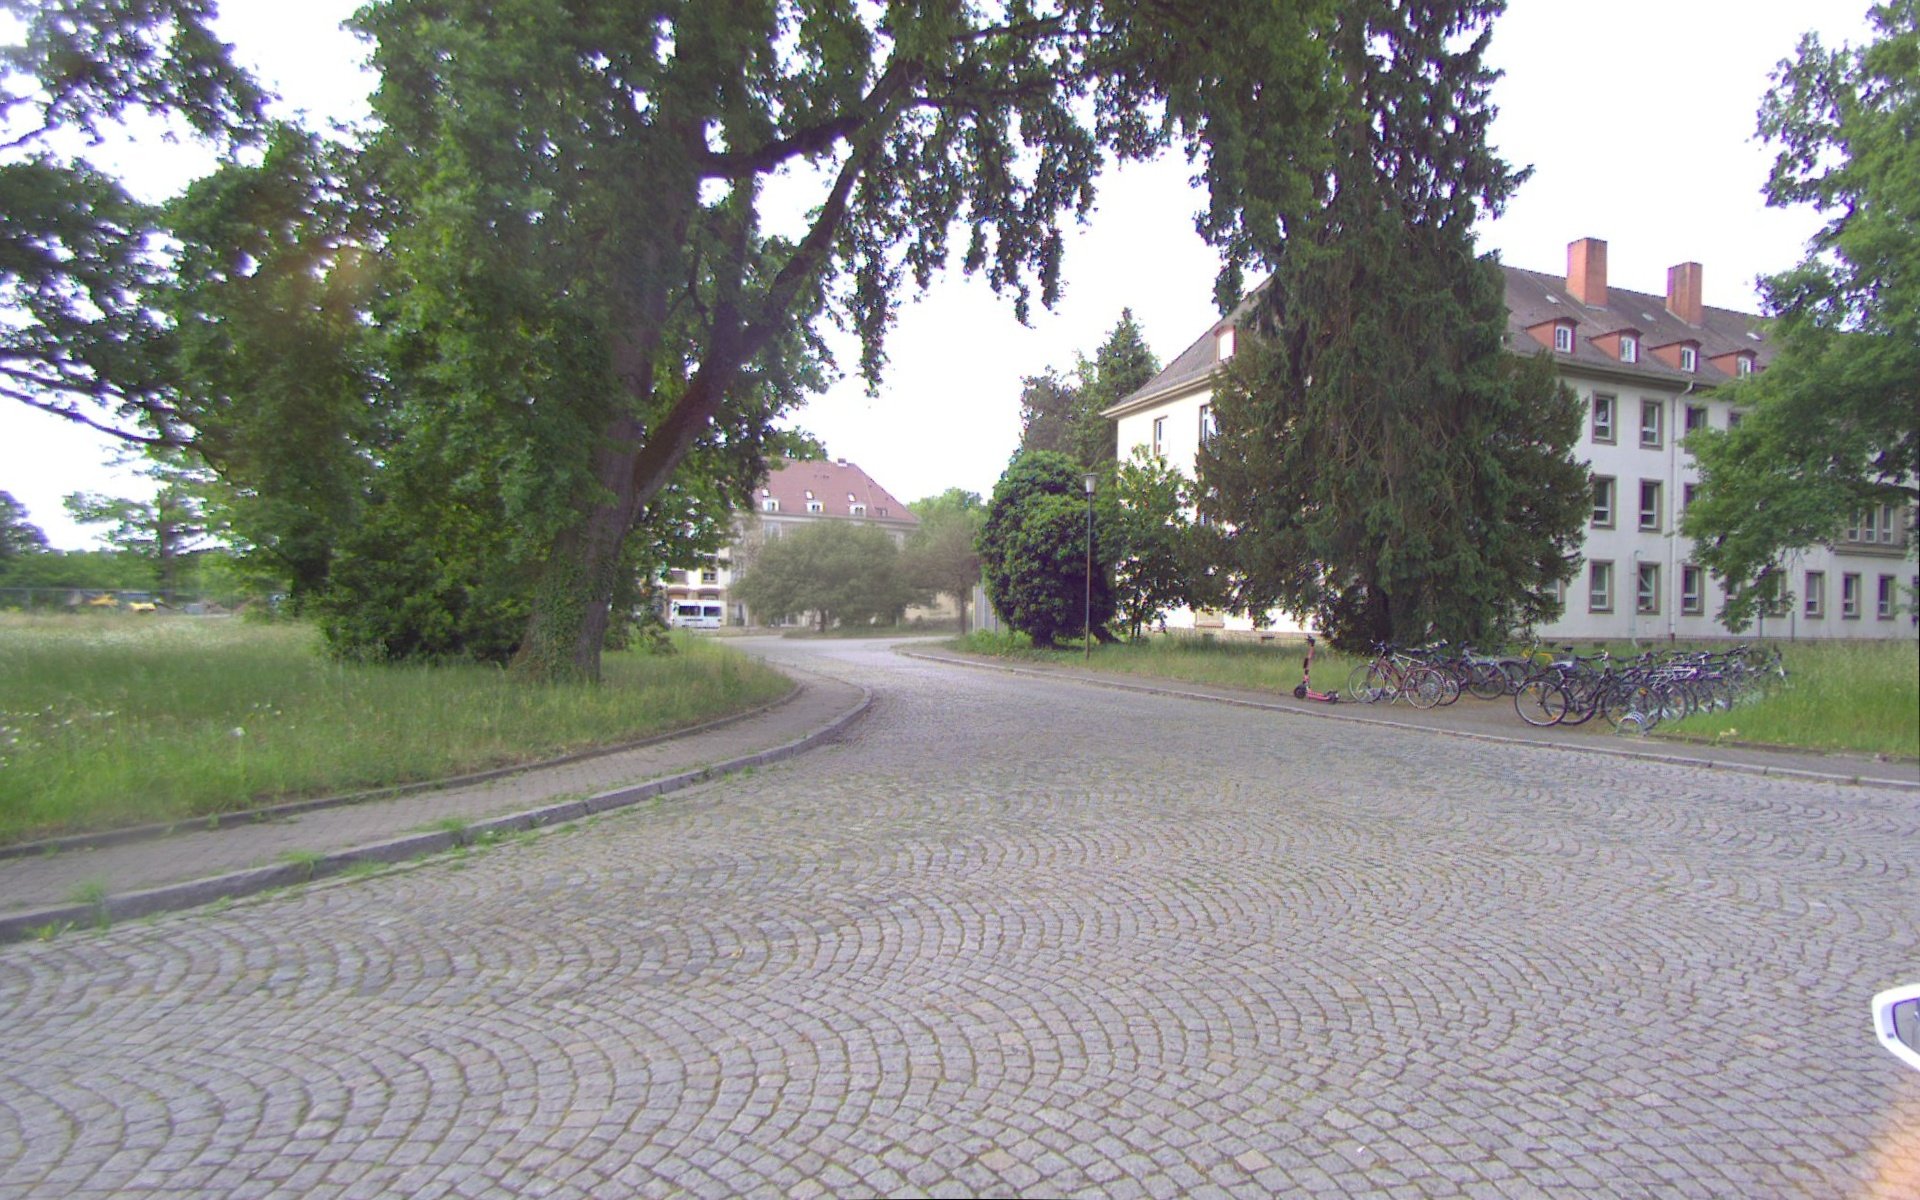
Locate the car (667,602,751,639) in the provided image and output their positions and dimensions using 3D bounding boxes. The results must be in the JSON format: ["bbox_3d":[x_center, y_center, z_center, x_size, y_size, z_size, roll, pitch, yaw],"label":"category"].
[{"bbox_3d":[-16.634,1.367,66.659,5.200,2.375,1.901,1,-1,-21],"label":"car"}]

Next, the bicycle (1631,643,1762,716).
[{"bbox_3d":[12.522,1.332,17.124,0.474,1.126,1.743,2,-1,-43],"label":"bicycle"}]

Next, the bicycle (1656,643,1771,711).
[{"bbox_3d":[13.755,1.385,18.377,0.437,1.126,1.638,1,-1,-31],"label":"bicycle"}]

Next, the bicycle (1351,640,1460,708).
[{"bbox_3d":[8.198,1.335,18.563,0.547,1.129,1.784,2,-1,-39],"label":"bicycle"}]

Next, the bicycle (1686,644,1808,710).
[{"bbox_3d":[14.738,1.410,18.853,0.473,1.126,1.746,2,-1,-37],"label":"bicycle"}]

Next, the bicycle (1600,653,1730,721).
[{"bbox_3d":[11.373,1.379,16.248,0.473,1.021,1.650,2,-3,-37],"label":"bicycle"}]

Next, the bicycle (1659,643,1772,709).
[{"bbox_3d":[14.109,1.399,18.806,0.437,1.126,1.638,1,-1,-31],"label":"bicycle"}]

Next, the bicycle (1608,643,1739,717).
[{"bbox_3d":[12.018,1.316,16.966,0.473,1.126,1.746,2,-1,-37],"label":"bicycle"}]

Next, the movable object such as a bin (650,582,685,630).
[{"bbox_3d":[-24.628,0.524,84.491,1.973,3.821,5.284,1,-1,-25],"label":"movable object such as a bin"}]

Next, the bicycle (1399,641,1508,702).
[{"bbox_3d":[9.571,1.369,19.537,1.800,1.079,0.614,0,-1,43],"label":"bicycle"}]

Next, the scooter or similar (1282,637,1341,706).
[{"bbox_3d":[6.650,1.340,19.042,0.353,1.226,1.130,1,-1,-25],"label":"scooter or similar"}]

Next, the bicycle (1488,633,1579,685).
[{"bbox_3d":[12.616,1.289,22.145,0.546,1.055,1.666,2,-1,-35],"label":"bicycle"}]

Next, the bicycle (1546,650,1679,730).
[{"bbox_3d":[9.565,1.298,14.752,1.597,1.088,0.476,-1,-2,38],"label":"bicycle"}]

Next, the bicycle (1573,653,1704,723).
[{"bbox_3d":[10.697,1.356,15.885,0.473,1.021,1.650,2,-3,-37],"label":"bicycle"}]

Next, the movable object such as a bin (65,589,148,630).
[{"bbox_3d":[-56.250,0.614,66.160,5.244,2.590,1.999,0,-1,23],"label":"movable object such as a bin"}]

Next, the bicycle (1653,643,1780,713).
[{"bbox_3d":[13.504,1.368,17.977,0.473,1.126,1.746,2,-1,-37],"label":"bicycle"}]

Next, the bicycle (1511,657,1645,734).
[{"bbox_3d":[8.906,1.358,14.514,1.597,1.021,0.476,-1,-2,38],"label":"bicycle"}]

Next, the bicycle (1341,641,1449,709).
[{"bbox_3d":[7.857,1.331,18.206,0.547,1.129,1.750,2,-1,-39],"label":"bicycle"}]

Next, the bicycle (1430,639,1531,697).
[{"bbox_3d":[10.583,1.356,20.464,1.729,1.079,0.548,0,-1,43],"label":"bicycle"}]

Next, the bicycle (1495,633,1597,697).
[{"bbox_3d":[11.801,1.285,20.282,0.545,1.186,1.740,1,-1,-29],"label":"bicycle"}]

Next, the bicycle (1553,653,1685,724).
[{"bbox_3d":[10.176,1.338,15.558,0.473,1.021,1.650,2,-3,-37],"label":"bicycle"}]
